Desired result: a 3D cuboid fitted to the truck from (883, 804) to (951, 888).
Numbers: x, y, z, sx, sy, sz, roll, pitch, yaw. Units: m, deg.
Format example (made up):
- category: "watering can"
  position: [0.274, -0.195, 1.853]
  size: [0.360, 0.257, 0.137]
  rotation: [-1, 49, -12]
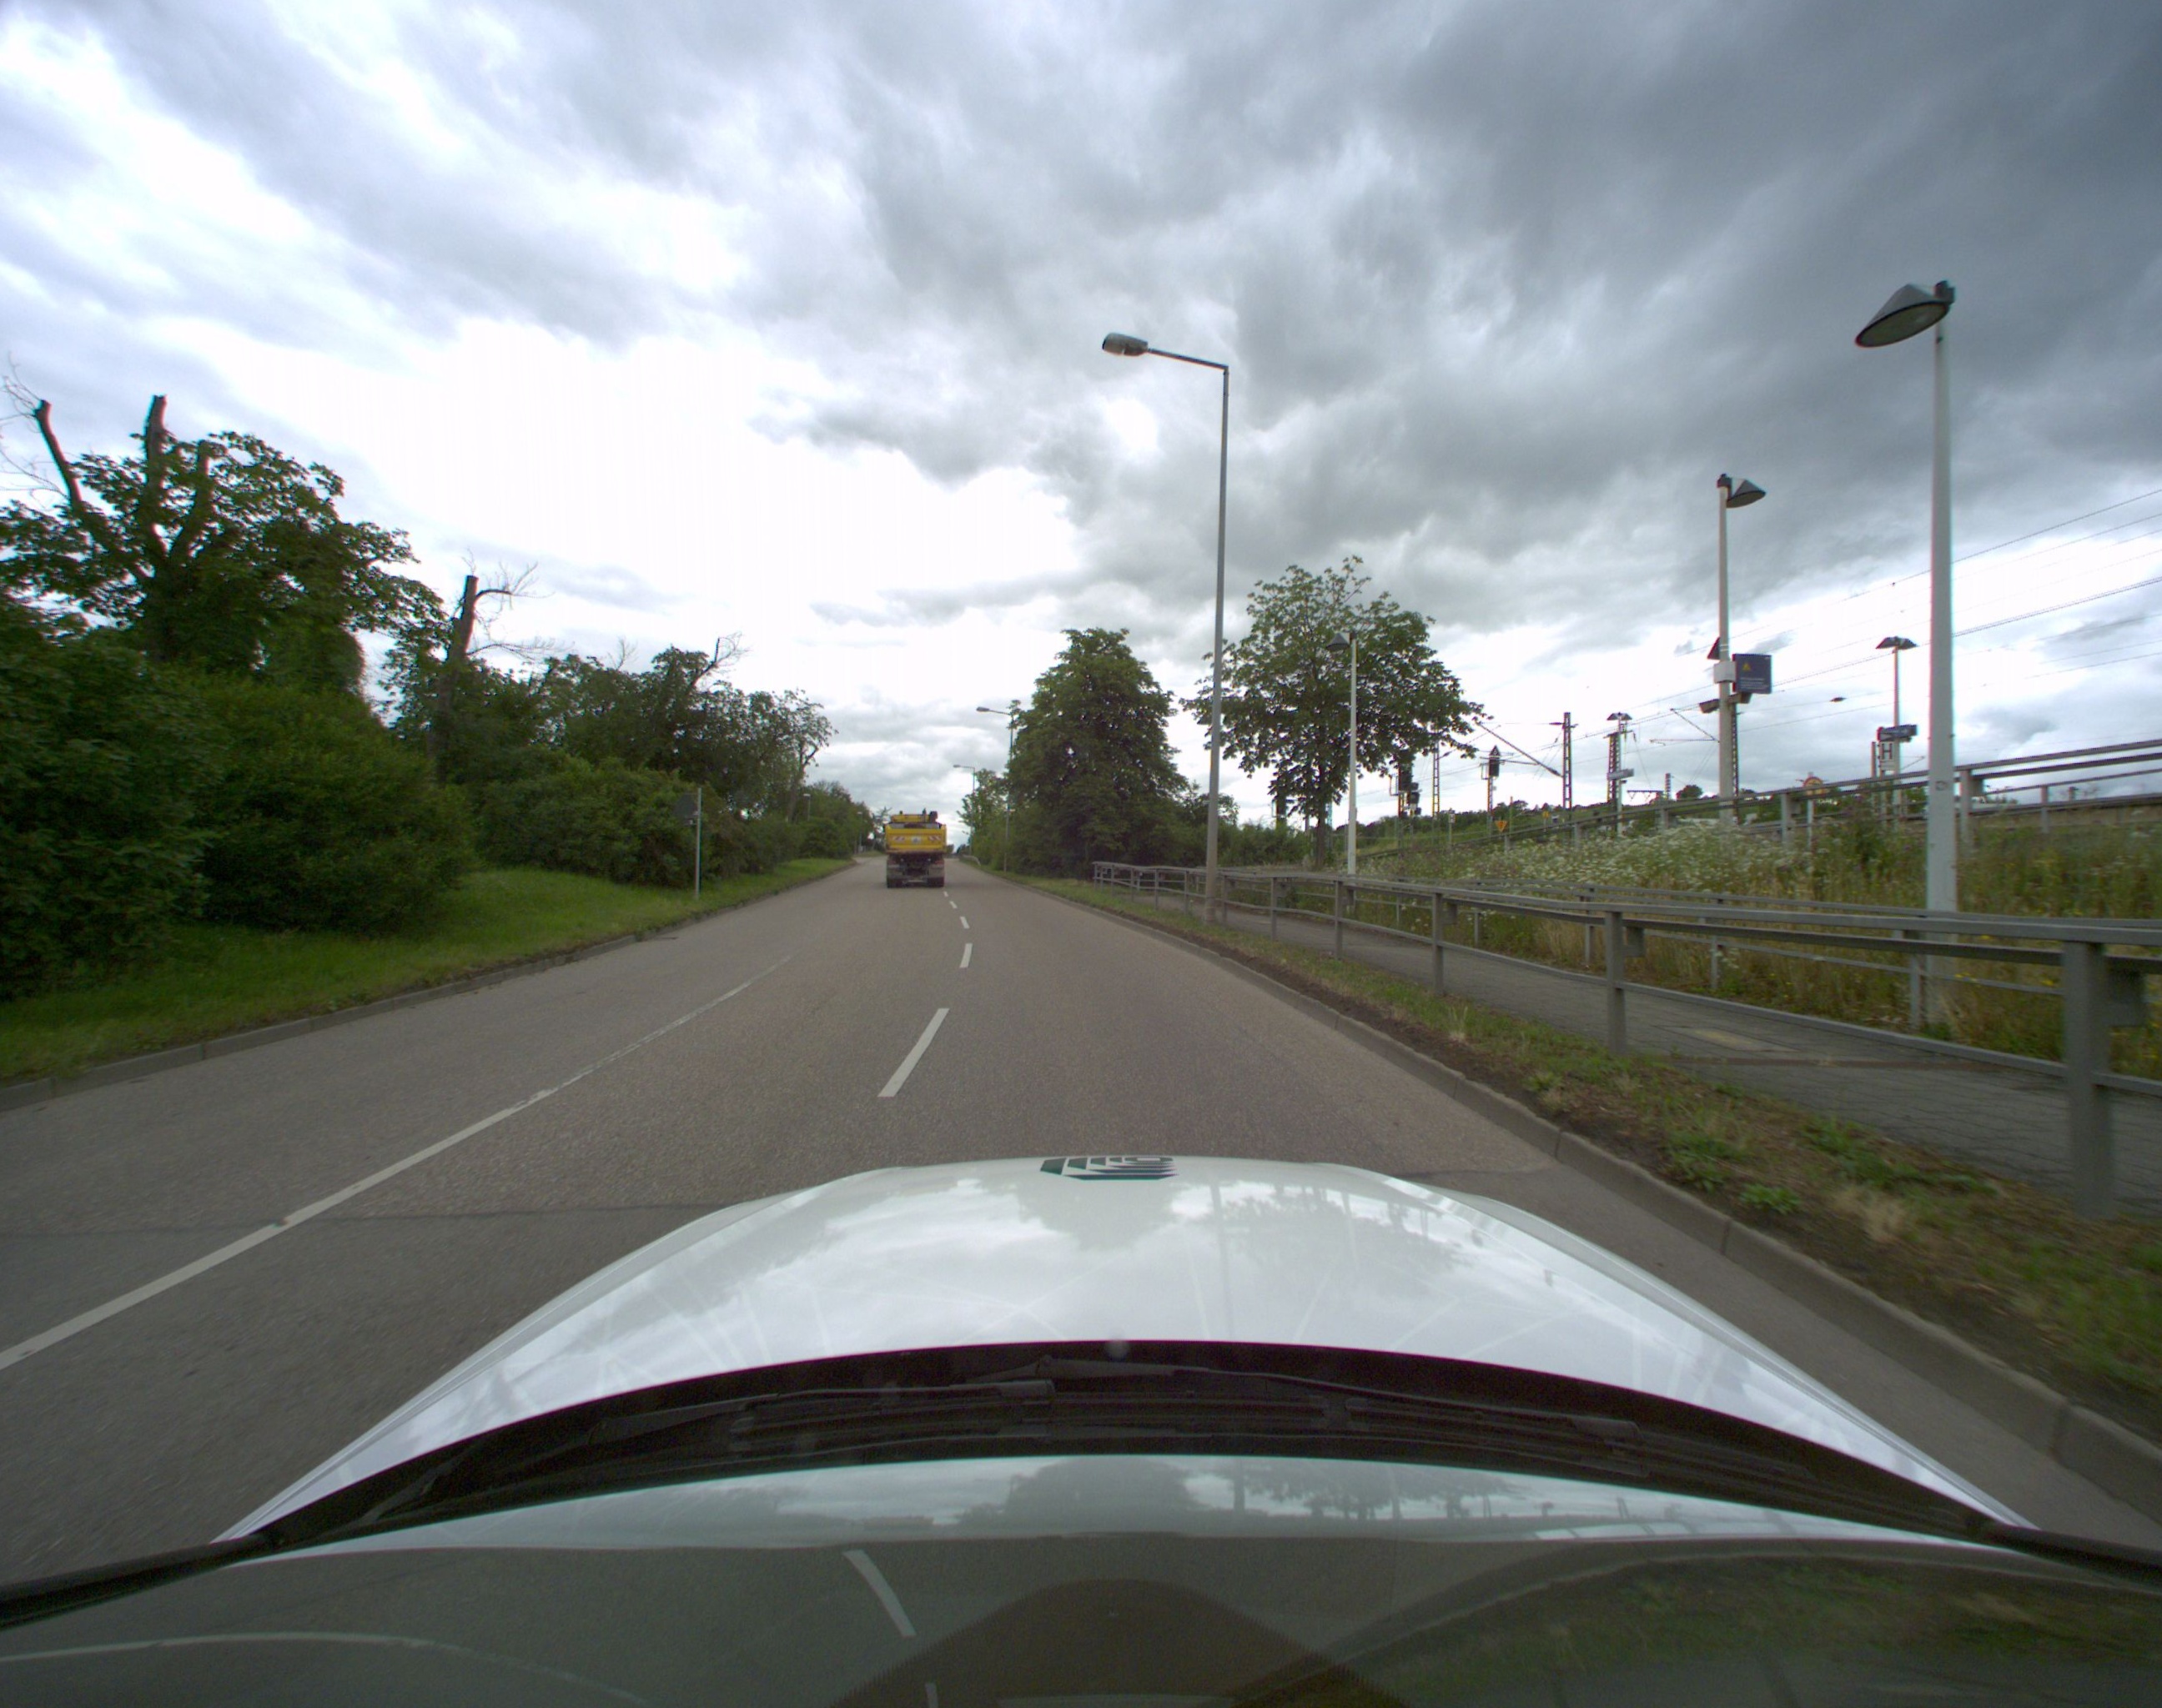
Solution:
- category: "truck"
  position: [-7.674, -0.366, 38.160]
  size: [2.767, 3.483, 8.096]
  rotation: [0, 0, -12]
